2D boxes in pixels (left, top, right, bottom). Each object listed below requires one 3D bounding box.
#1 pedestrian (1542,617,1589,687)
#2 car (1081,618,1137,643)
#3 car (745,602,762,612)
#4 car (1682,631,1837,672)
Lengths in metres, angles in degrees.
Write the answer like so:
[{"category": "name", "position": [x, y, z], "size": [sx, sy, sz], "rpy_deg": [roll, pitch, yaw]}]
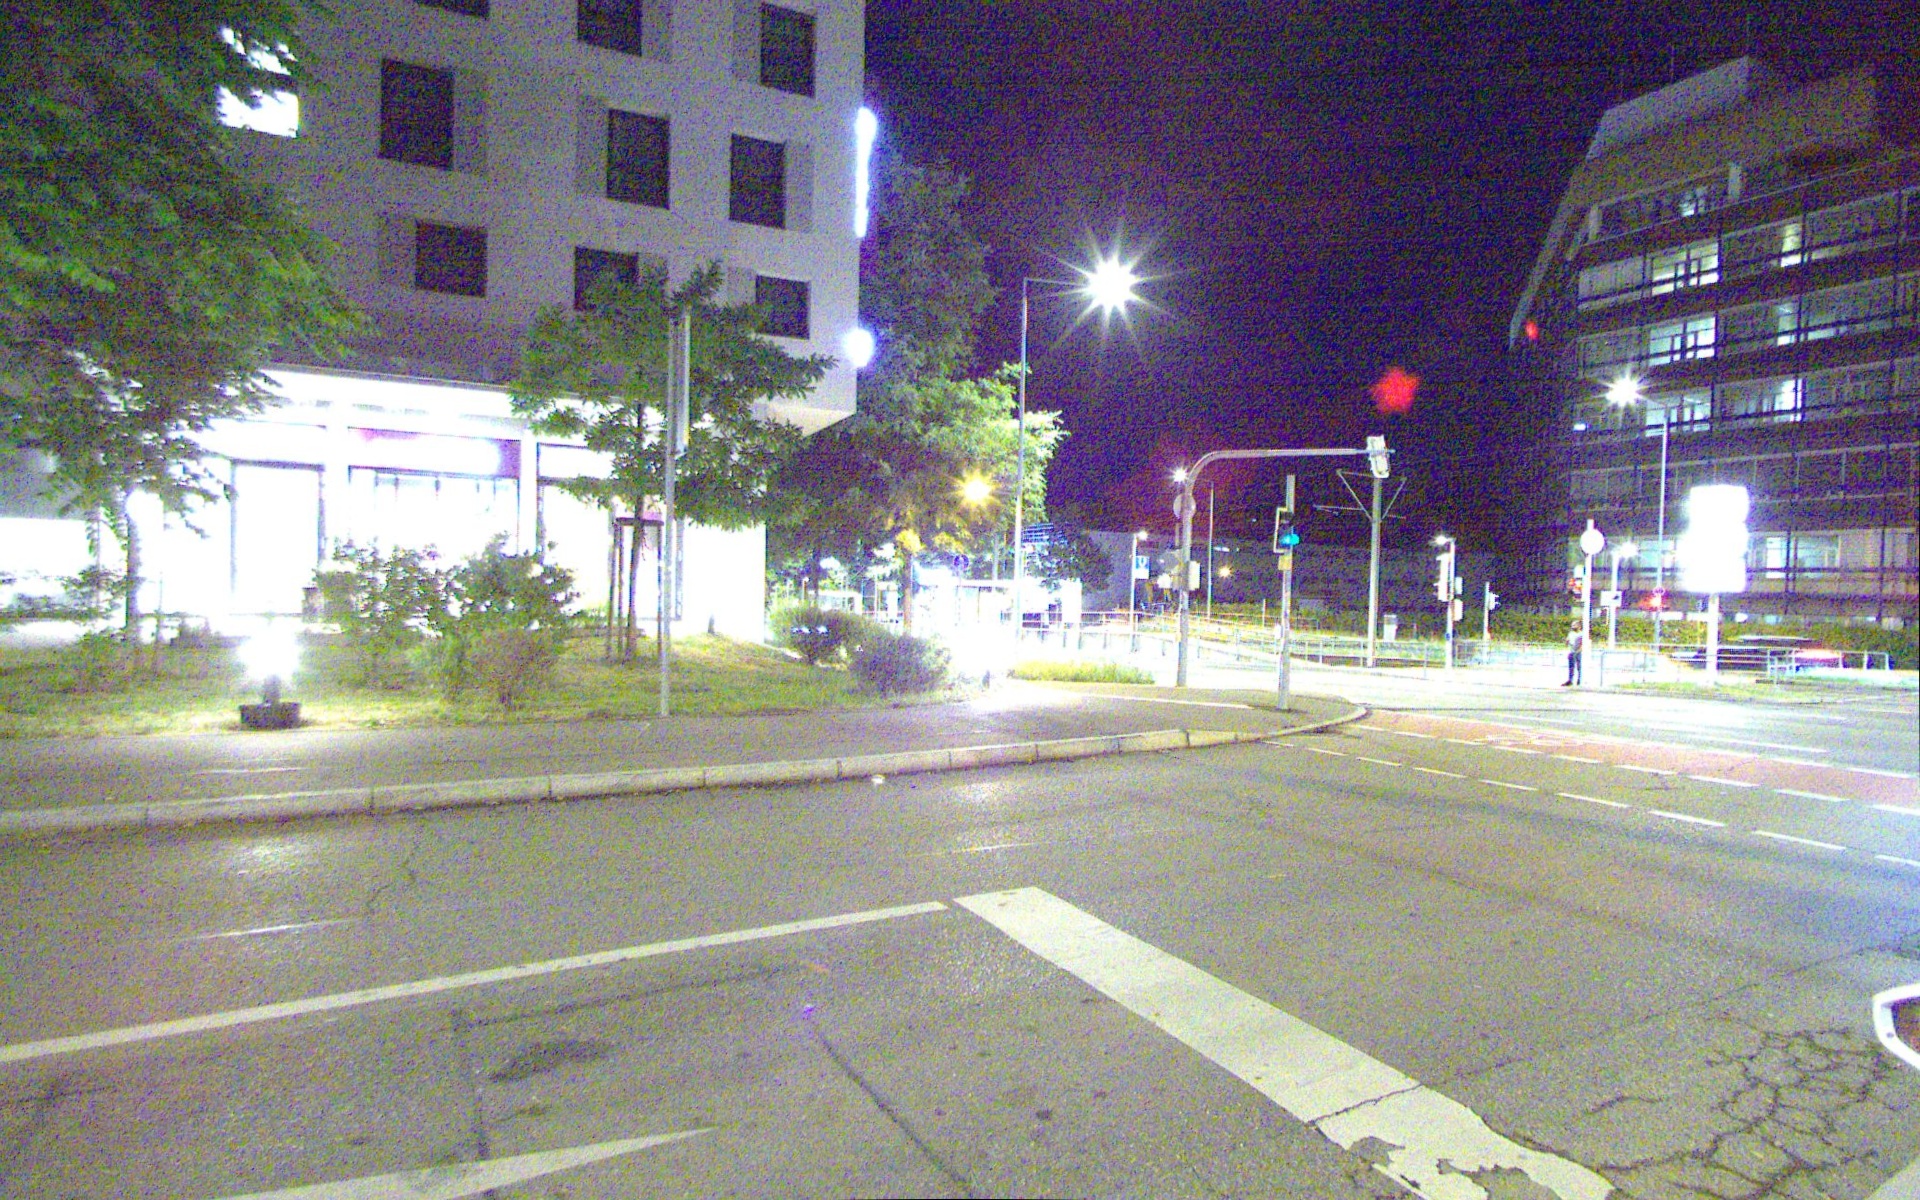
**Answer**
[{"category": "pedestrian", "position": [15.608, 1.326, 25.905], "size": [0.693, 1.745, 0.678], "rpy_deg": [2, 0, -7]}, {"category": "car", "position": [11.069, 2.253, 74.949], "size": [1.916, 1.665, 4.382], "rpy_deg": [3, 0, -26]}, {"category": "car", "position": [-33.469, 1.125, 162.935], "size": [1.845, 1.506, 3.822], "rpy_deg": [3, 0, -26]}, {"category": "car", "position": [30.516, 1.947, 38.475], "size": [1.819, 1.406, 4.313], "rpy_deg": [3, -2, -26]}]
